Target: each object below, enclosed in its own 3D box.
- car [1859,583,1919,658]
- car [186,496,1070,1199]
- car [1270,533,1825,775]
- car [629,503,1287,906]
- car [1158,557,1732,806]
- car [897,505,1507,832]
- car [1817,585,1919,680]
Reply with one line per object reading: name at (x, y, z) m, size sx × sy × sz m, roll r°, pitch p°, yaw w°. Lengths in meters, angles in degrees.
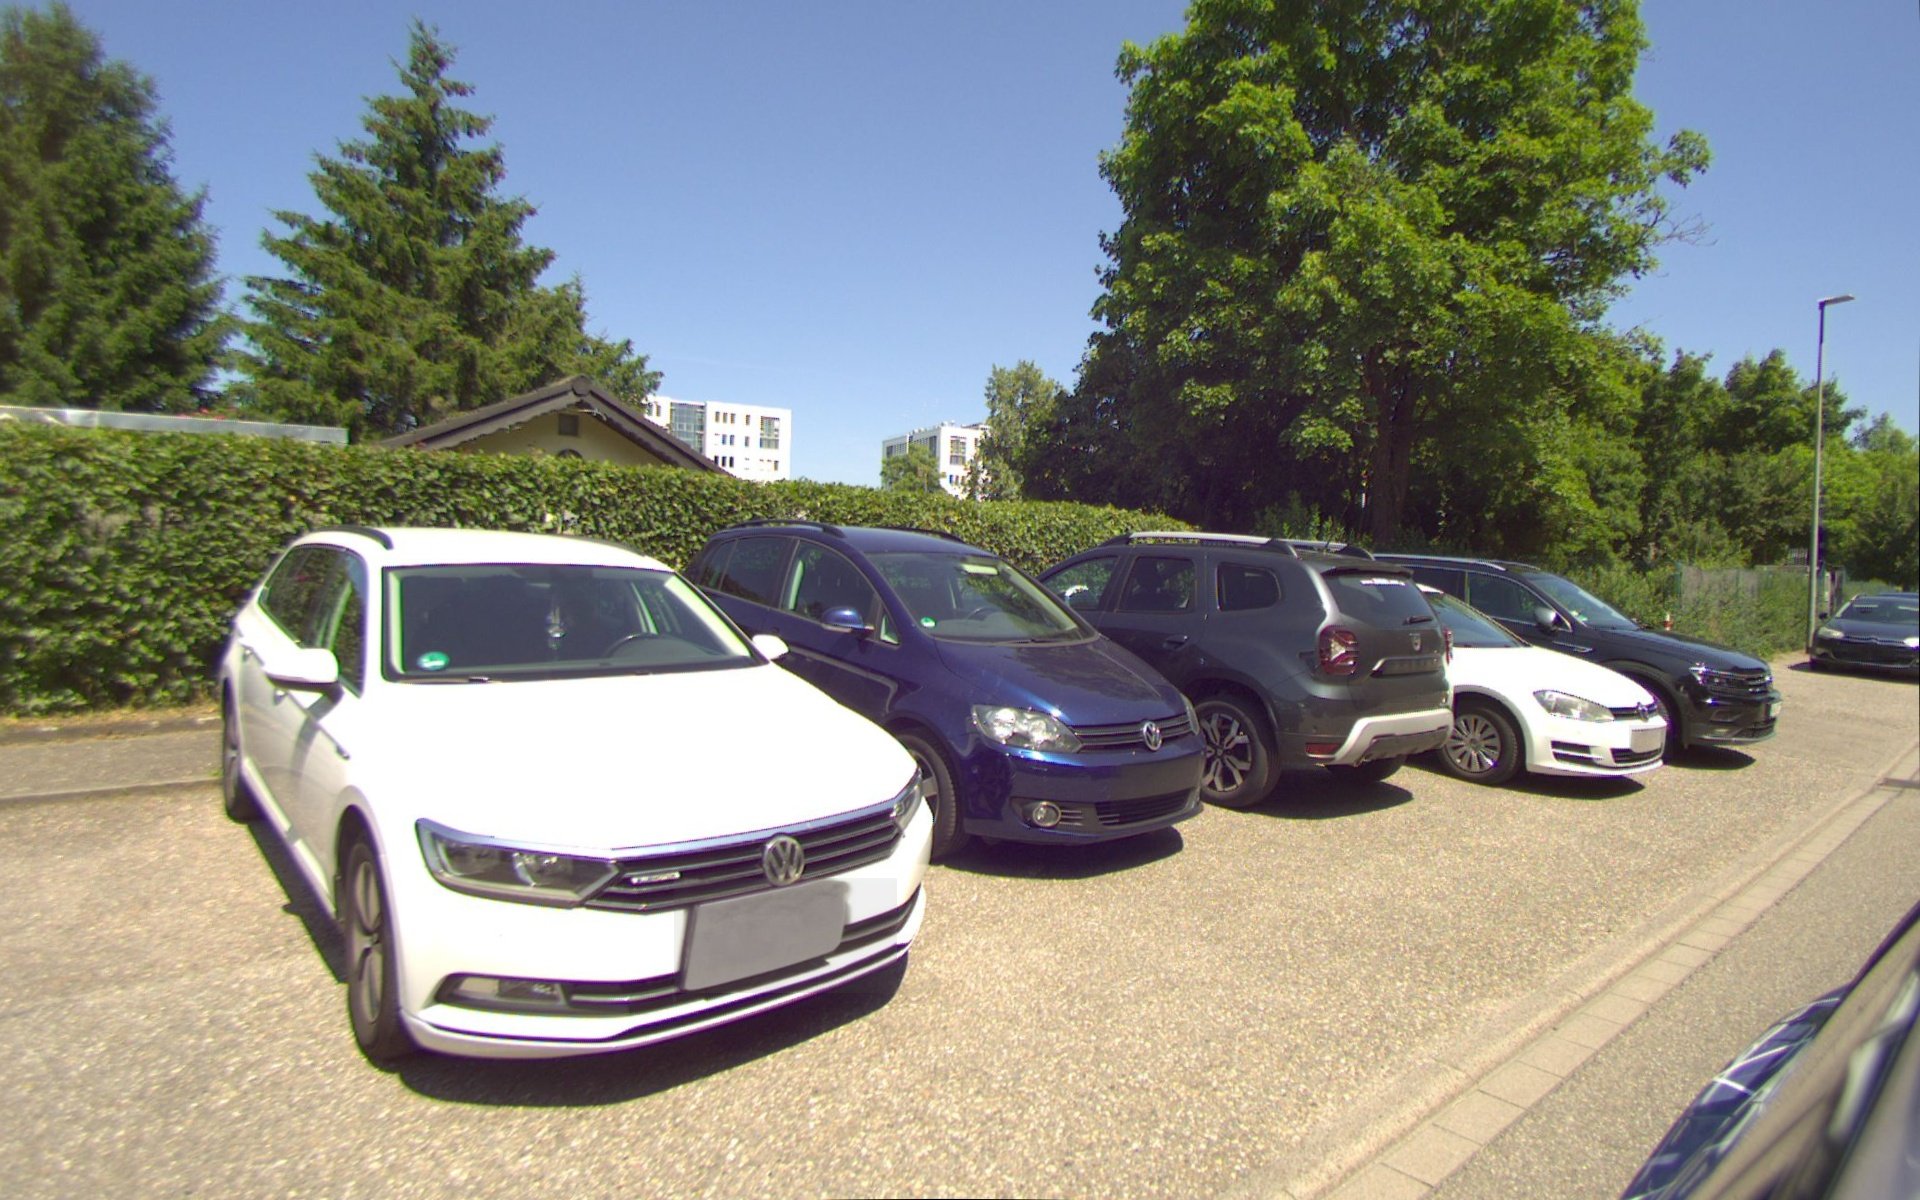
car at (22.799, 0.486, 23.990) m, size 4.059 × 1.623 × 1.792 m, roll 1°, pitch 2°, yaw -43°
car at (-1.912, 0.387, 4.431) m, size 1.928 × 1.456 × 4.567 m, roll 0°, pitch 5°, yaw -43°
car at (5.739, 0.329, 10.436) m, size 1.880 × 1.724 × 4.484 m, roll 1°, pitch 5°, yaw -40°
car at (-0.327, 0.291, 6.222) m, size 1.728 × 1.567 × 4.058 m, roll 0°, pitch 5°, yaw -42°
car at (3.877, 0.468, 8.675) m, size 1.799 × 1.470 × 4.007 m, roll 1°, pitch 4°, yaw -40°
car at (1.519, 0.231, 7.790) m, size 1.820 × 1.718 × 4.272 m, roll 1°, pitch 5°, yaw -38°
car at (17.674, 0.564, 18.969) m, size 4.585 × 1.499 × 1.793 m, roll 0°, pitch 5°, yaw -43°
